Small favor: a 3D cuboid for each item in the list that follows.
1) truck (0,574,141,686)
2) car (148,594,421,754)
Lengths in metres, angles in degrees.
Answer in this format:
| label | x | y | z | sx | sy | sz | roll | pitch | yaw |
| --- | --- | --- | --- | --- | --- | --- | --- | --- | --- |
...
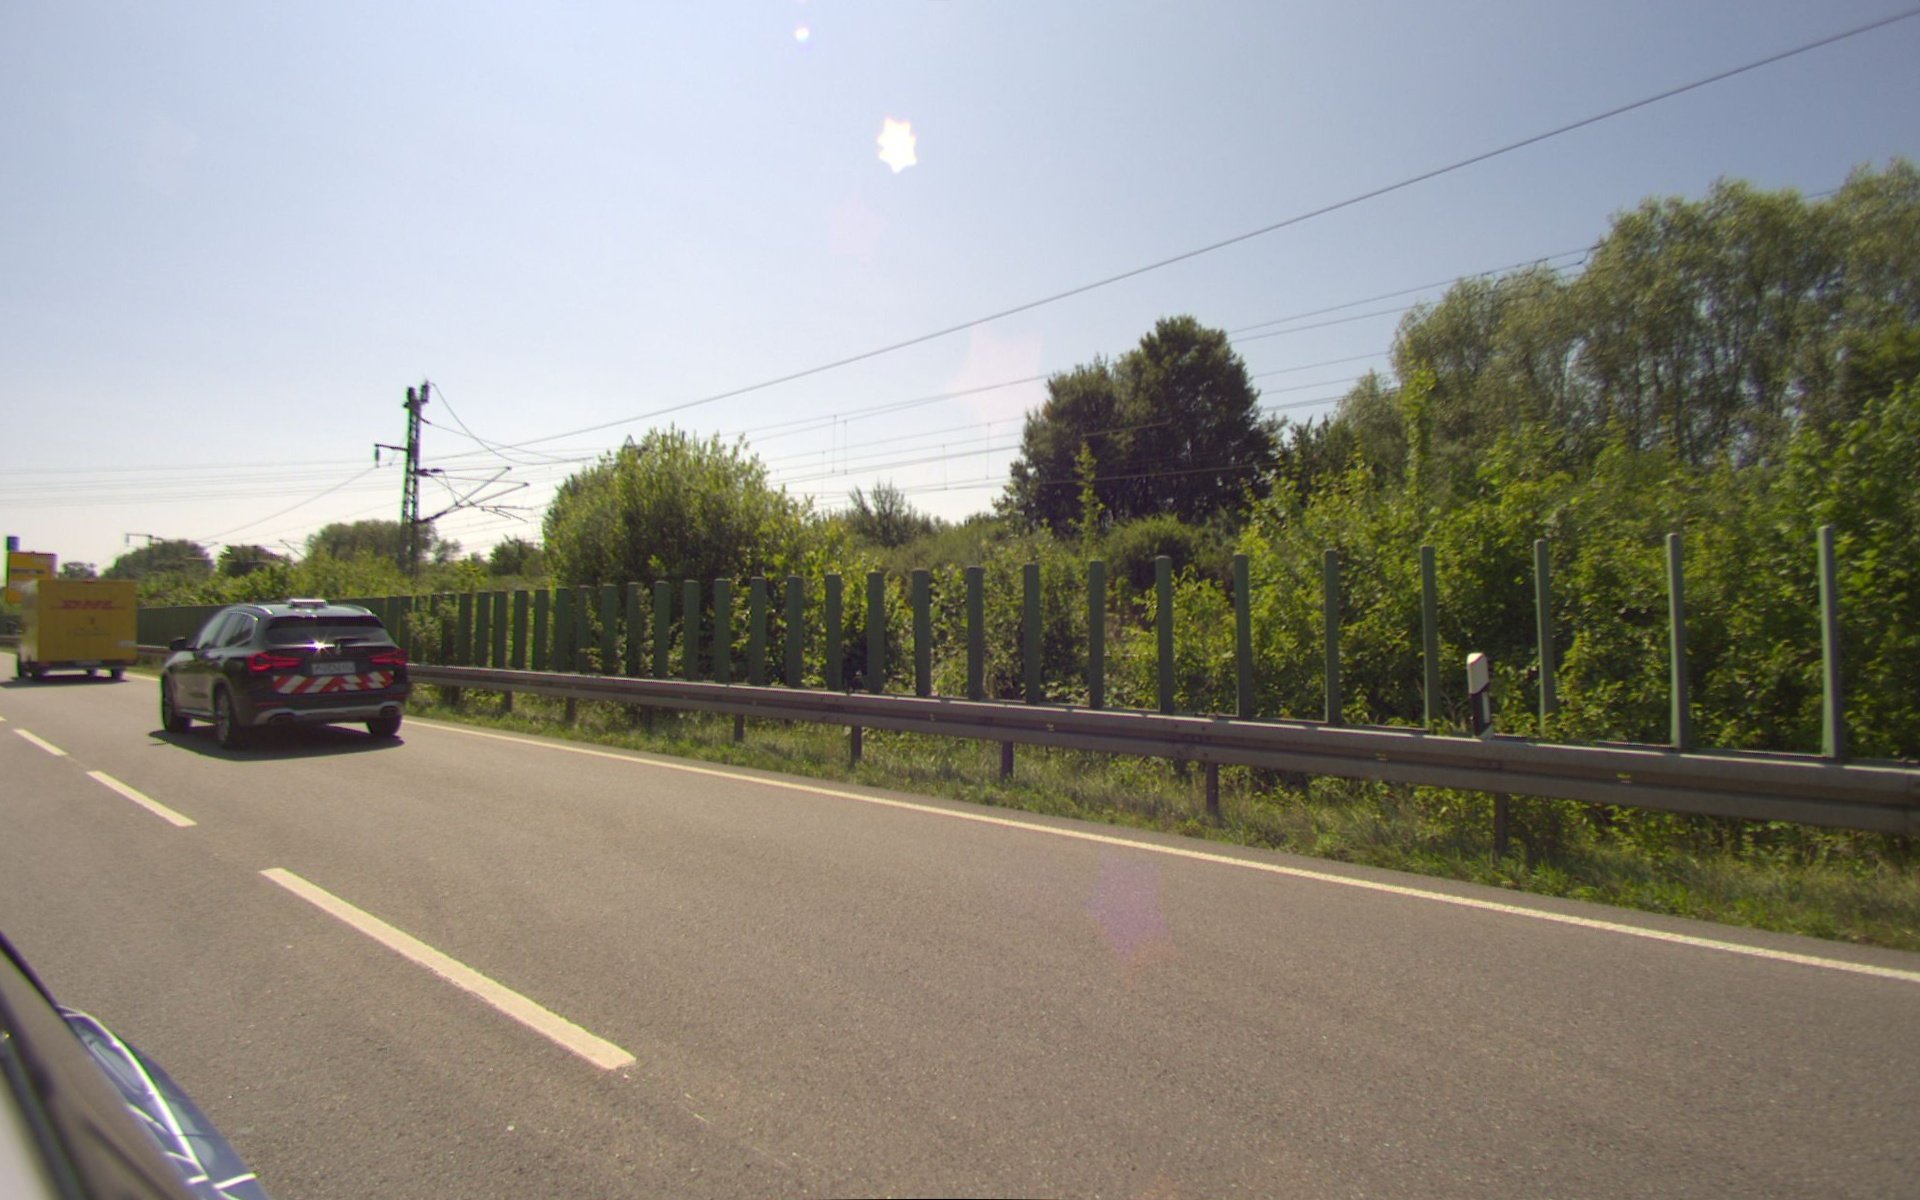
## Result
| label | x | y | z | sx | sy | sz | roll | pitch | yaw |
| --- | --- | --- | --- | --- | --- | --- | --- | --- | --- |
| truck | -23.622 | 0.781 | 26.795 | 5.701 | 2.667 | 2.058 | -1 | -1 | 41 |
| car | -8.837 | 0.840 | 13.062 | 4.704 | 1.707 | 1.795 | -1 | -2 | 42 |
